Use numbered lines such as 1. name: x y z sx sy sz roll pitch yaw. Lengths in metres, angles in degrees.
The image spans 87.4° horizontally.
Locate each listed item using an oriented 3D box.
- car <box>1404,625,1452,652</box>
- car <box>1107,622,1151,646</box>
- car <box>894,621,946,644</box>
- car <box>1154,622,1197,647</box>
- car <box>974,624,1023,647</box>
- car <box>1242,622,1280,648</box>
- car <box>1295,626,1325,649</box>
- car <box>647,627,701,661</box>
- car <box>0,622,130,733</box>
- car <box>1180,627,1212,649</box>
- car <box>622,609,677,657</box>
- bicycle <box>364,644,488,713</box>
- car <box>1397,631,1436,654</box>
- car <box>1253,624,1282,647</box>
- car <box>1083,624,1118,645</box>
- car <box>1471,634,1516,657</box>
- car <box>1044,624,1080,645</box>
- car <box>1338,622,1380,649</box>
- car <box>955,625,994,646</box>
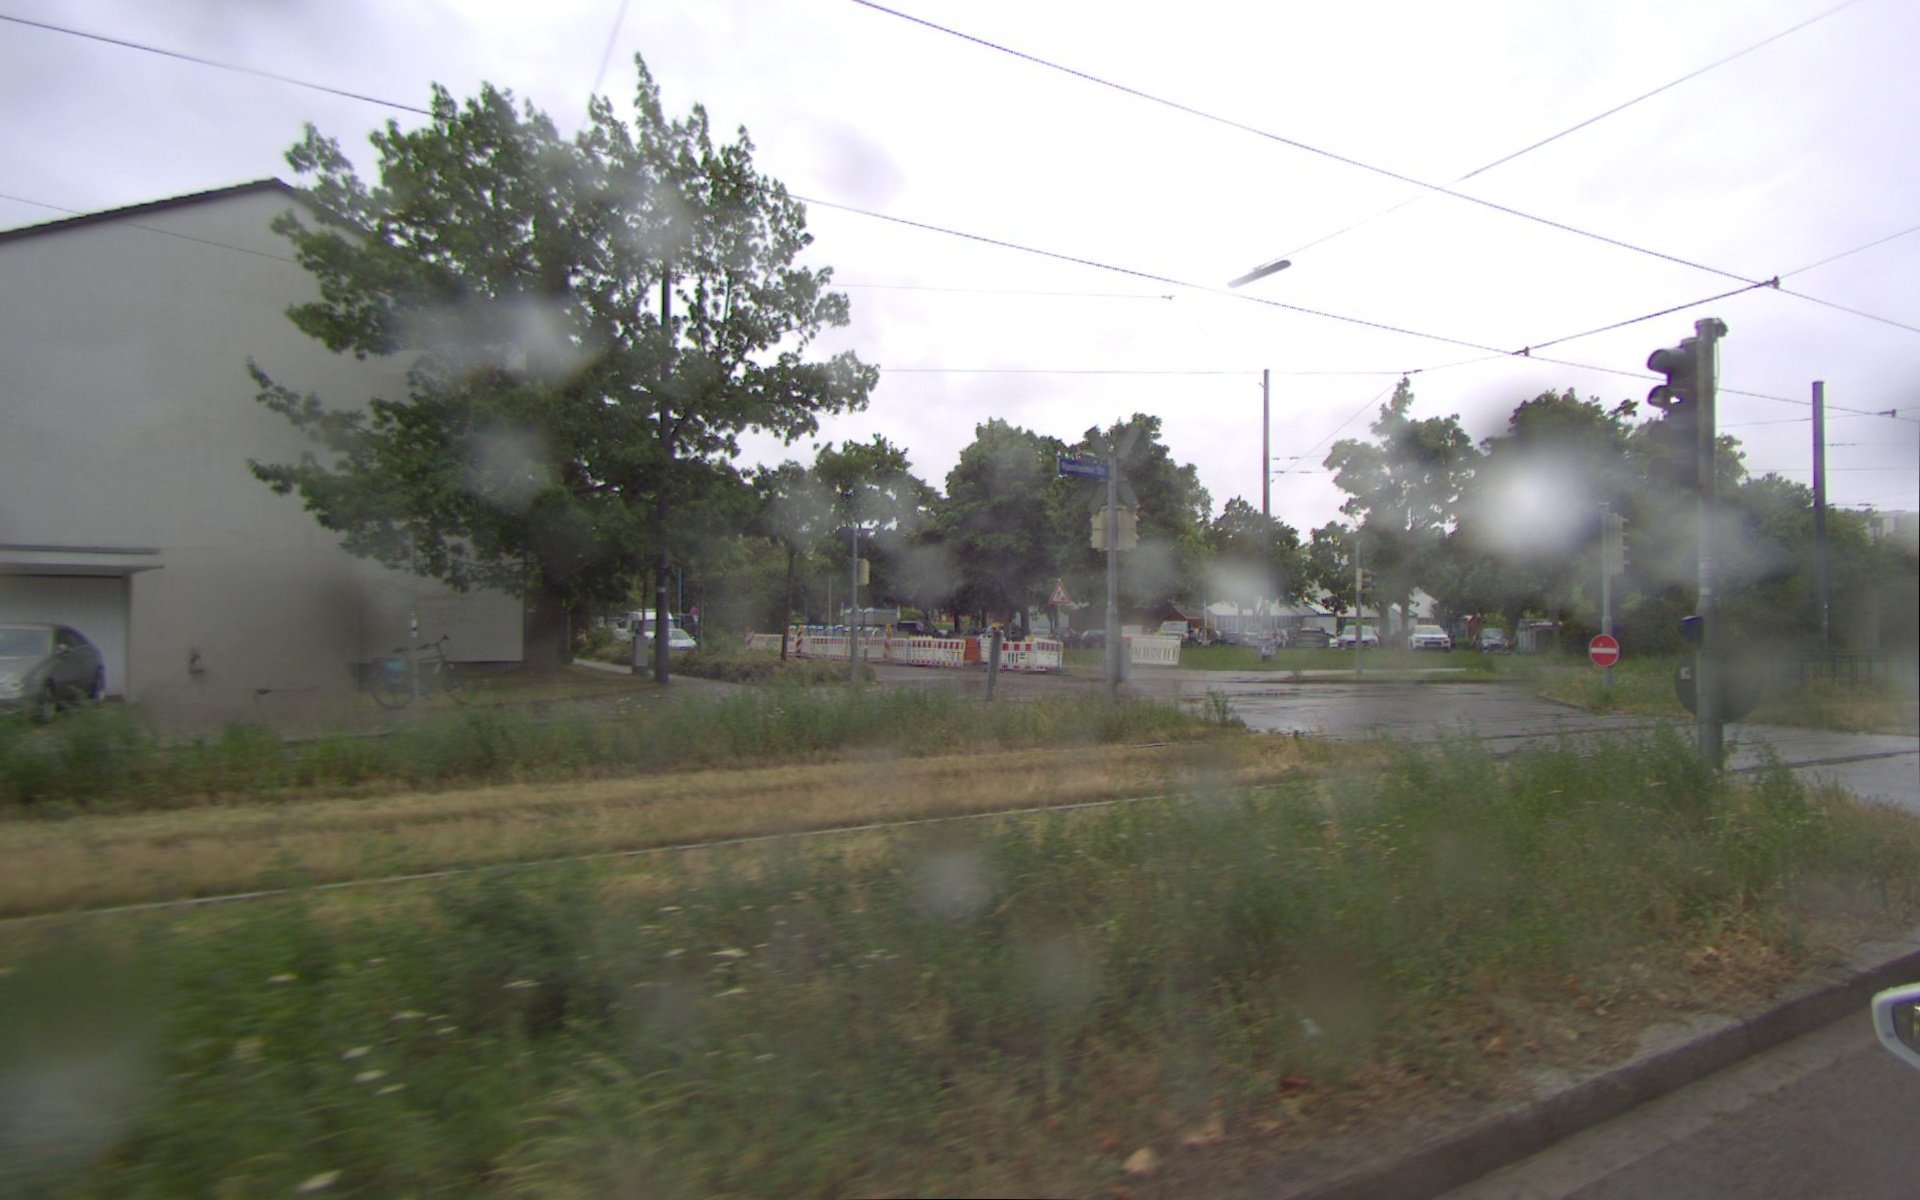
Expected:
1. car: 22.455 1.836 48.302 1.632 1.265 3.744 0 -2 18
2. car: 9.012 1.820 53.445 1.633 1.265 3.742 -1 -2 21
3. car: -2.274 1.895 57.689 1.633 1.265 3.742 -1 -2 21
4. car: 11.261 1.808 52.344 1.633 1.265 3.742 -1 -2 21
5. car: 2.203 2.002 56.416 1.633 1.265 3.742 -1 -2 21
6. car: 15.491 1.800 51.638 1.633 1.265 3.742 -1 -2 21
7. car: 21.136 2.250 60.737 1.632 1.342 3.744 0 -2 18
8. car: -13.990 2.133 49.028 1.732 1.550 3.600 1 -2 -30
9. car: -14.190 1.054 15.001 1.825 1.383 4.707 1 -1 -28
10. car: 14.931 2.421 63.482 1.632 1.342 3.744 0 -2 18
11. car: -16.861 1.774 54.500 1.895 2.478 4.435 1 -2 -30
12. bicycle: -9.047 1.309 17.081 0.474 1.033 1.836 3 1 35
13. car: 26.553 2.459 58.522 1.632 1.265 3.744 0 -2 18
14. car: 18.938 2.200 61.813 1.632 1.342 3.744 0 -2 18
15. car: 9.194 2.268 65.395 1.632 1.342 3.744 0 -2 18
16. car: 30.573 2.587 57.652 1.632 1.265 3.744 0 -2 18
17. car: 6.830 2.324 66.946 1.632 1.342 3.744 0 -2 18
18. car: 19.391 1.750 48.941 1.632 1.265 3.744 0 -2 18
19. car: 1.016 2.423 68.588 1.632 1.342 3.744 0 -2 18
